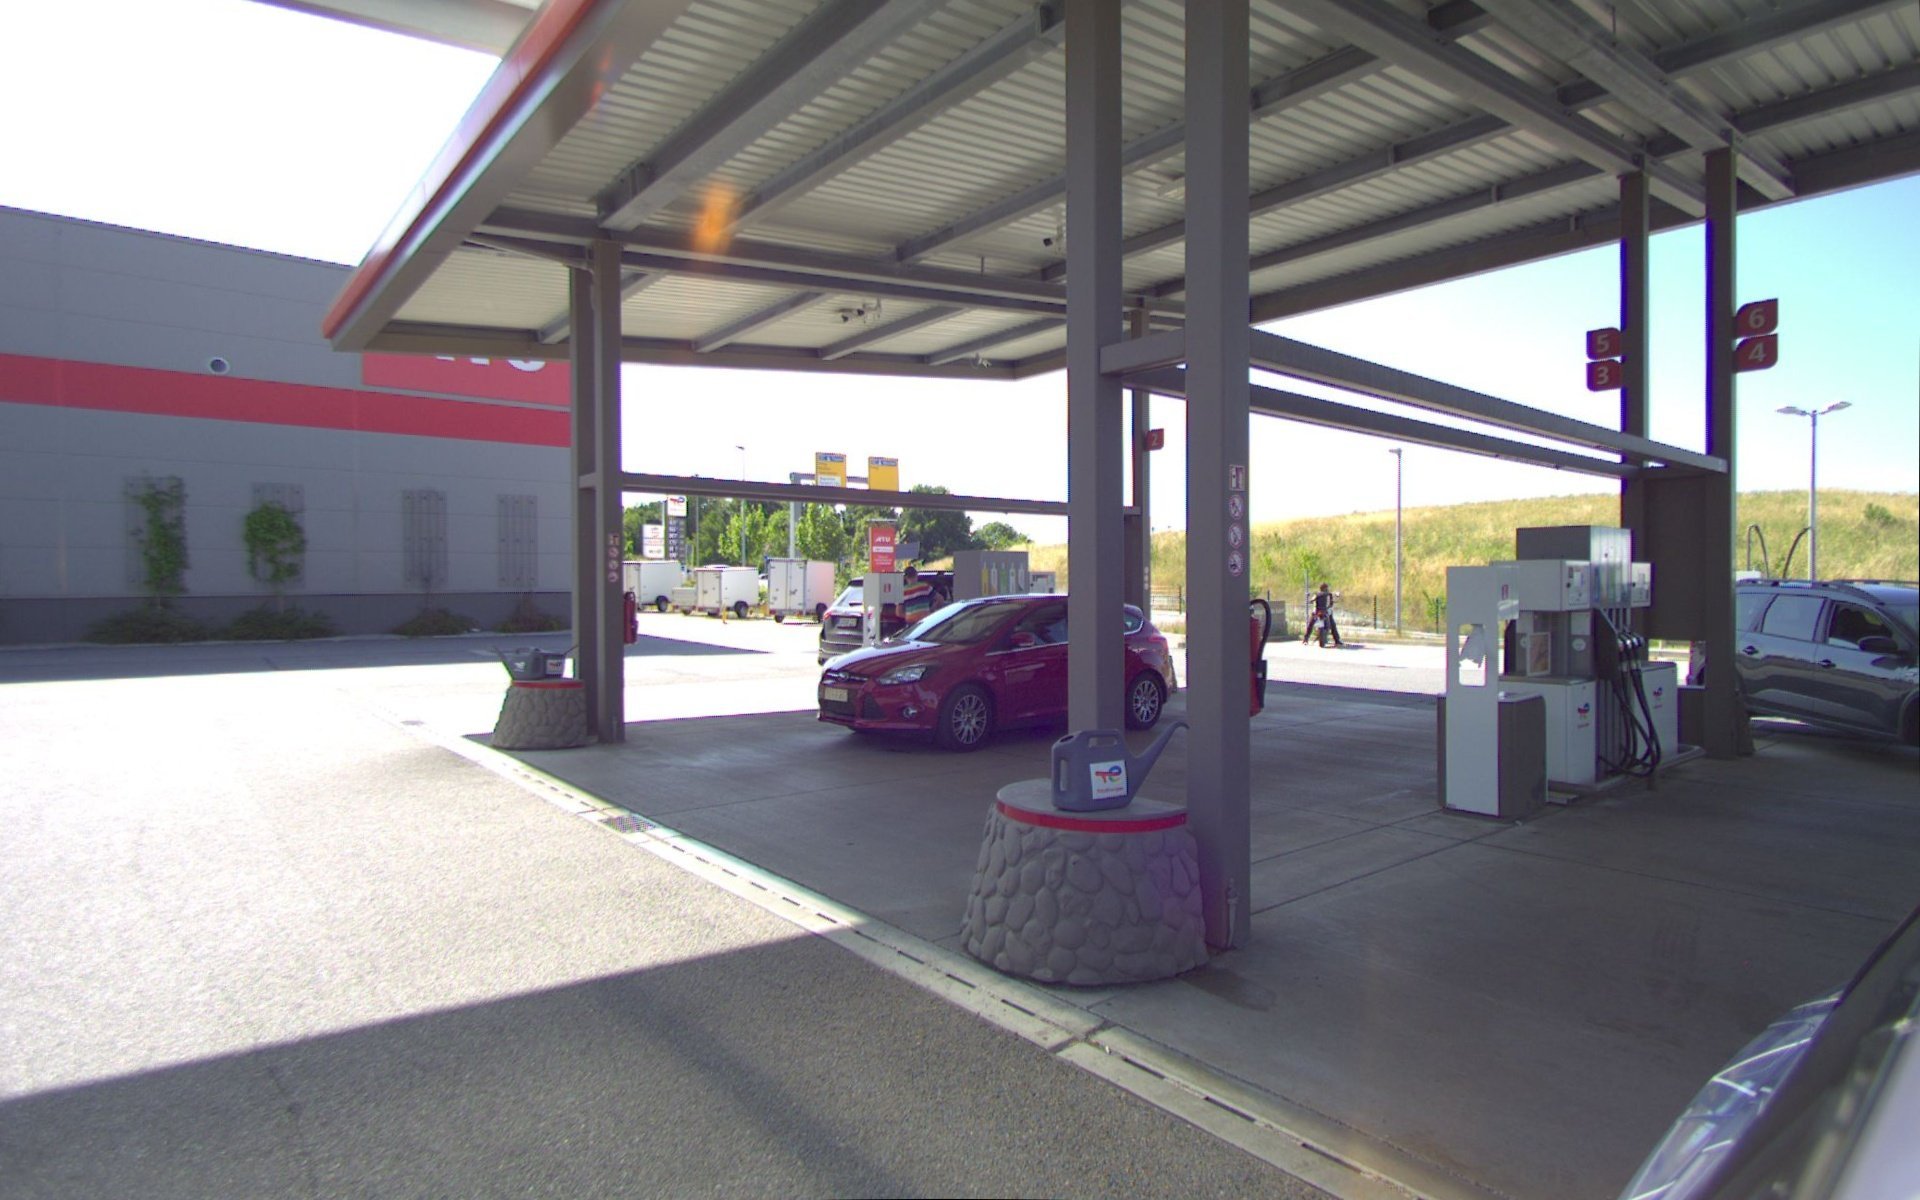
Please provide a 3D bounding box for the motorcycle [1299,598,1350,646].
[{"bbox_3d":[9.464,0.534,26.228,1.035,1.119,2.395,1,2,25],"label":"motorcycle"}]

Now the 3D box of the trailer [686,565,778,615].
[{"bbox_3d":[-9.718,-0.438,43.428,1.784,2.039,3.965,0,1,25],"label":"trailer"}]

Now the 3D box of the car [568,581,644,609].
[{"bbox_3d":[-17.489,-0.258,50.146,1.658,1.334,3.816,1,1,16],"label":"car"}]

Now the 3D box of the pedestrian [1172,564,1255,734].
[{"bbox_3d":[2.721,0.490,10.810,0.696,1.724,0.920,0,0,25],"label":"pedestrian"}]

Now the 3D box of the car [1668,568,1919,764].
[{"bbox_3d":[9.105,0.554,9.623,1.712,1.665,4.628,0,1,4],"label":"car"}]

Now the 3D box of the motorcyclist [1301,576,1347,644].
[{"bbox_3d":[9.414,0.243,26.141,1.024,1.709,1.089,1,1,25],"label":"motorcyclist"}]

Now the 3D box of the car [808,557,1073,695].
[{"bbox_3d":[-0.117,0.345,16.339,2.019,1.874,4.742,1,0,32],"label":"car"}]

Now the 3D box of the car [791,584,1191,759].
[{"bbox_3d":[0.460,0.592,10.633,4.158,1.487,1.702,0,1,-41],"label":"car"}]

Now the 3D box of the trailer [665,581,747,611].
[{"bbox_3d":[-11.307,-0.191,45.268,1.562,1.297,3.687,1,1,25],"label":"trailer"}]

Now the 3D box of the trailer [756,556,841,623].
[{"bbox_3d":[-6.186,-0.427,39.188,1.969,2.457,3.986,1,1,12],"label":"trailer"}]

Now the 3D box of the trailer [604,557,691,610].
[{"bbox_3d":[-15.167,-0.794,49.302,1.977,2.457,3.970,1,1,22],"label":"trailer"}]
